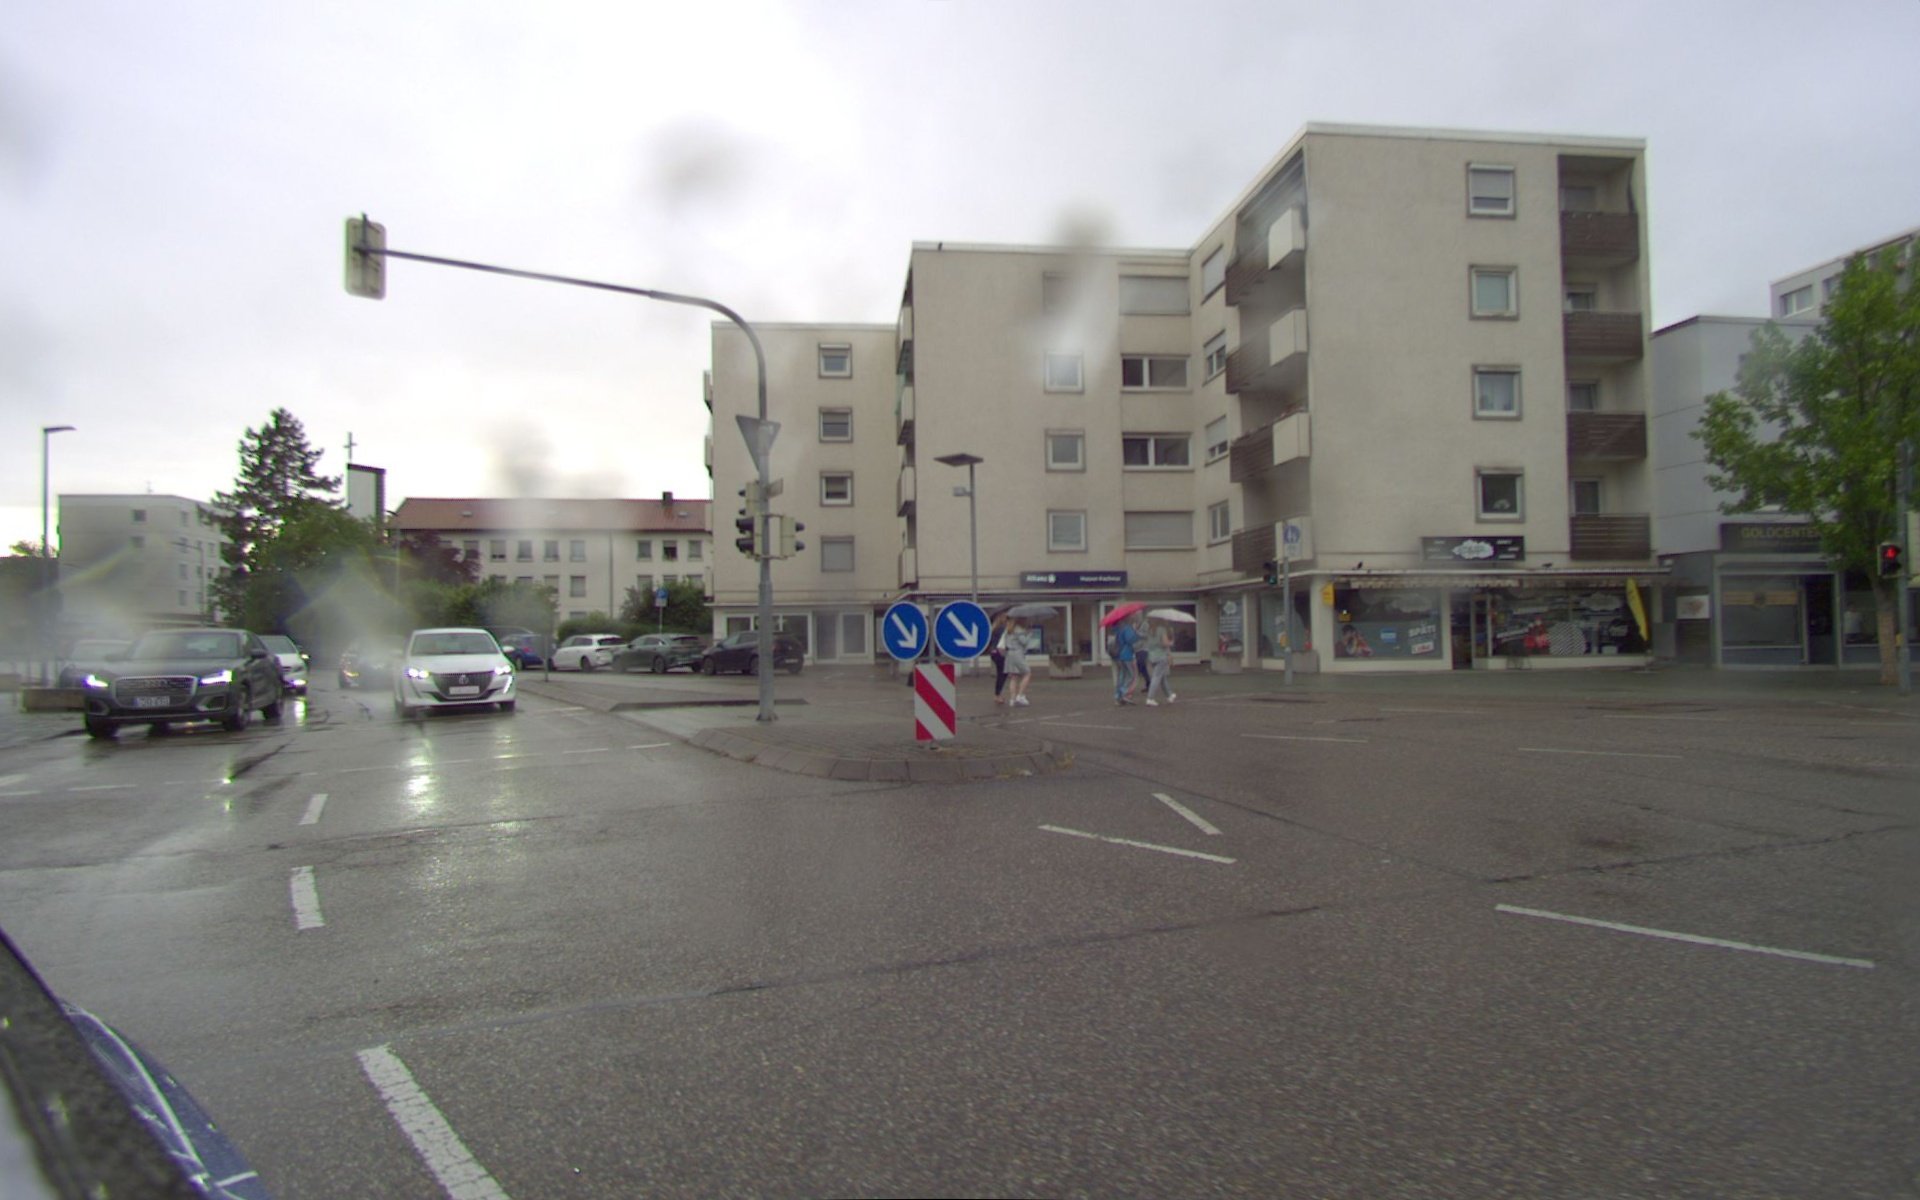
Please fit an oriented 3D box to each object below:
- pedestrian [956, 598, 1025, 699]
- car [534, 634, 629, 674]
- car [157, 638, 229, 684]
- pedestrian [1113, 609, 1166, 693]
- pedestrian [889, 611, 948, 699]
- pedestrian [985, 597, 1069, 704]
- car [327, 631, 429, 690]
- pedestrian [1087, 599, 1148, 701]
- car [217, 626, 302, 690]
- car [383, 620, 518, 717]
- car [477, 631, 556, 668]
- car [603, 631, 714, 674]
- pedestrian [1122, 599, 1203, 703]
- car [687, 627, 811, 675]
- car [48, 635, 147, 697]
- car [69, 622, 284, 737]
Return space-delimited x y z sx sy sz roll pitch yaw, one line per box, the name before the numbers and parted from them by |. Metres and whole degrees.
pedestrian | 0.539 0.850 18.176 0.823 1.749 0.956 1 -2 -36
car | -15.233 2.129 40.599 4.341 1.511 1.616 -2 -2 39
car | -25.597 1.991 33.734 1.773 1.379 3.981 1 -2 -39
pedestrian | 3.679 1.033 20.741 0.814 1.668 0.705 -2 -3 38
pedestrian | -0.784 1.017 19.021 0.914 1.597 0.648 -3 -3 45
pedestrian | 1.146 0.847 17.345 1.119 1.757 0.862 0 -2 -32
car | -15.928 1.596 27.613 1.724 1.466 3.819 1 -2 -41
pedestrian | 2.688 0.845 17.275 0.805 1.698 0.665 -2 -2 36
car | -18.433 1.515 26.687 1.706 1.540 4.073 0 -3 -34
car | -8.929 1.132 17.570 1.715 1.420 3.907 -2 -1 -32
car | -19.378 2.158 44.163 3.877 1.517 1.613 -2 -2 39
car | -11.138 1.919 37.236 4.269 1.445 1.814 -2 -1 39
pedestrian | 3.387 0.836 16.964 0.922 1.690 0.919 0 -2 -30
car | -7.098 1.689 33.797 4.183 1.471 1.813 -2 -1 39
car | -21.055 1.594 24.653 1.630 1.383 3.735 4 -5 -43
car | -11.590 1.080 15.274 1.705 1.455 4.060 -1 -1 -25
